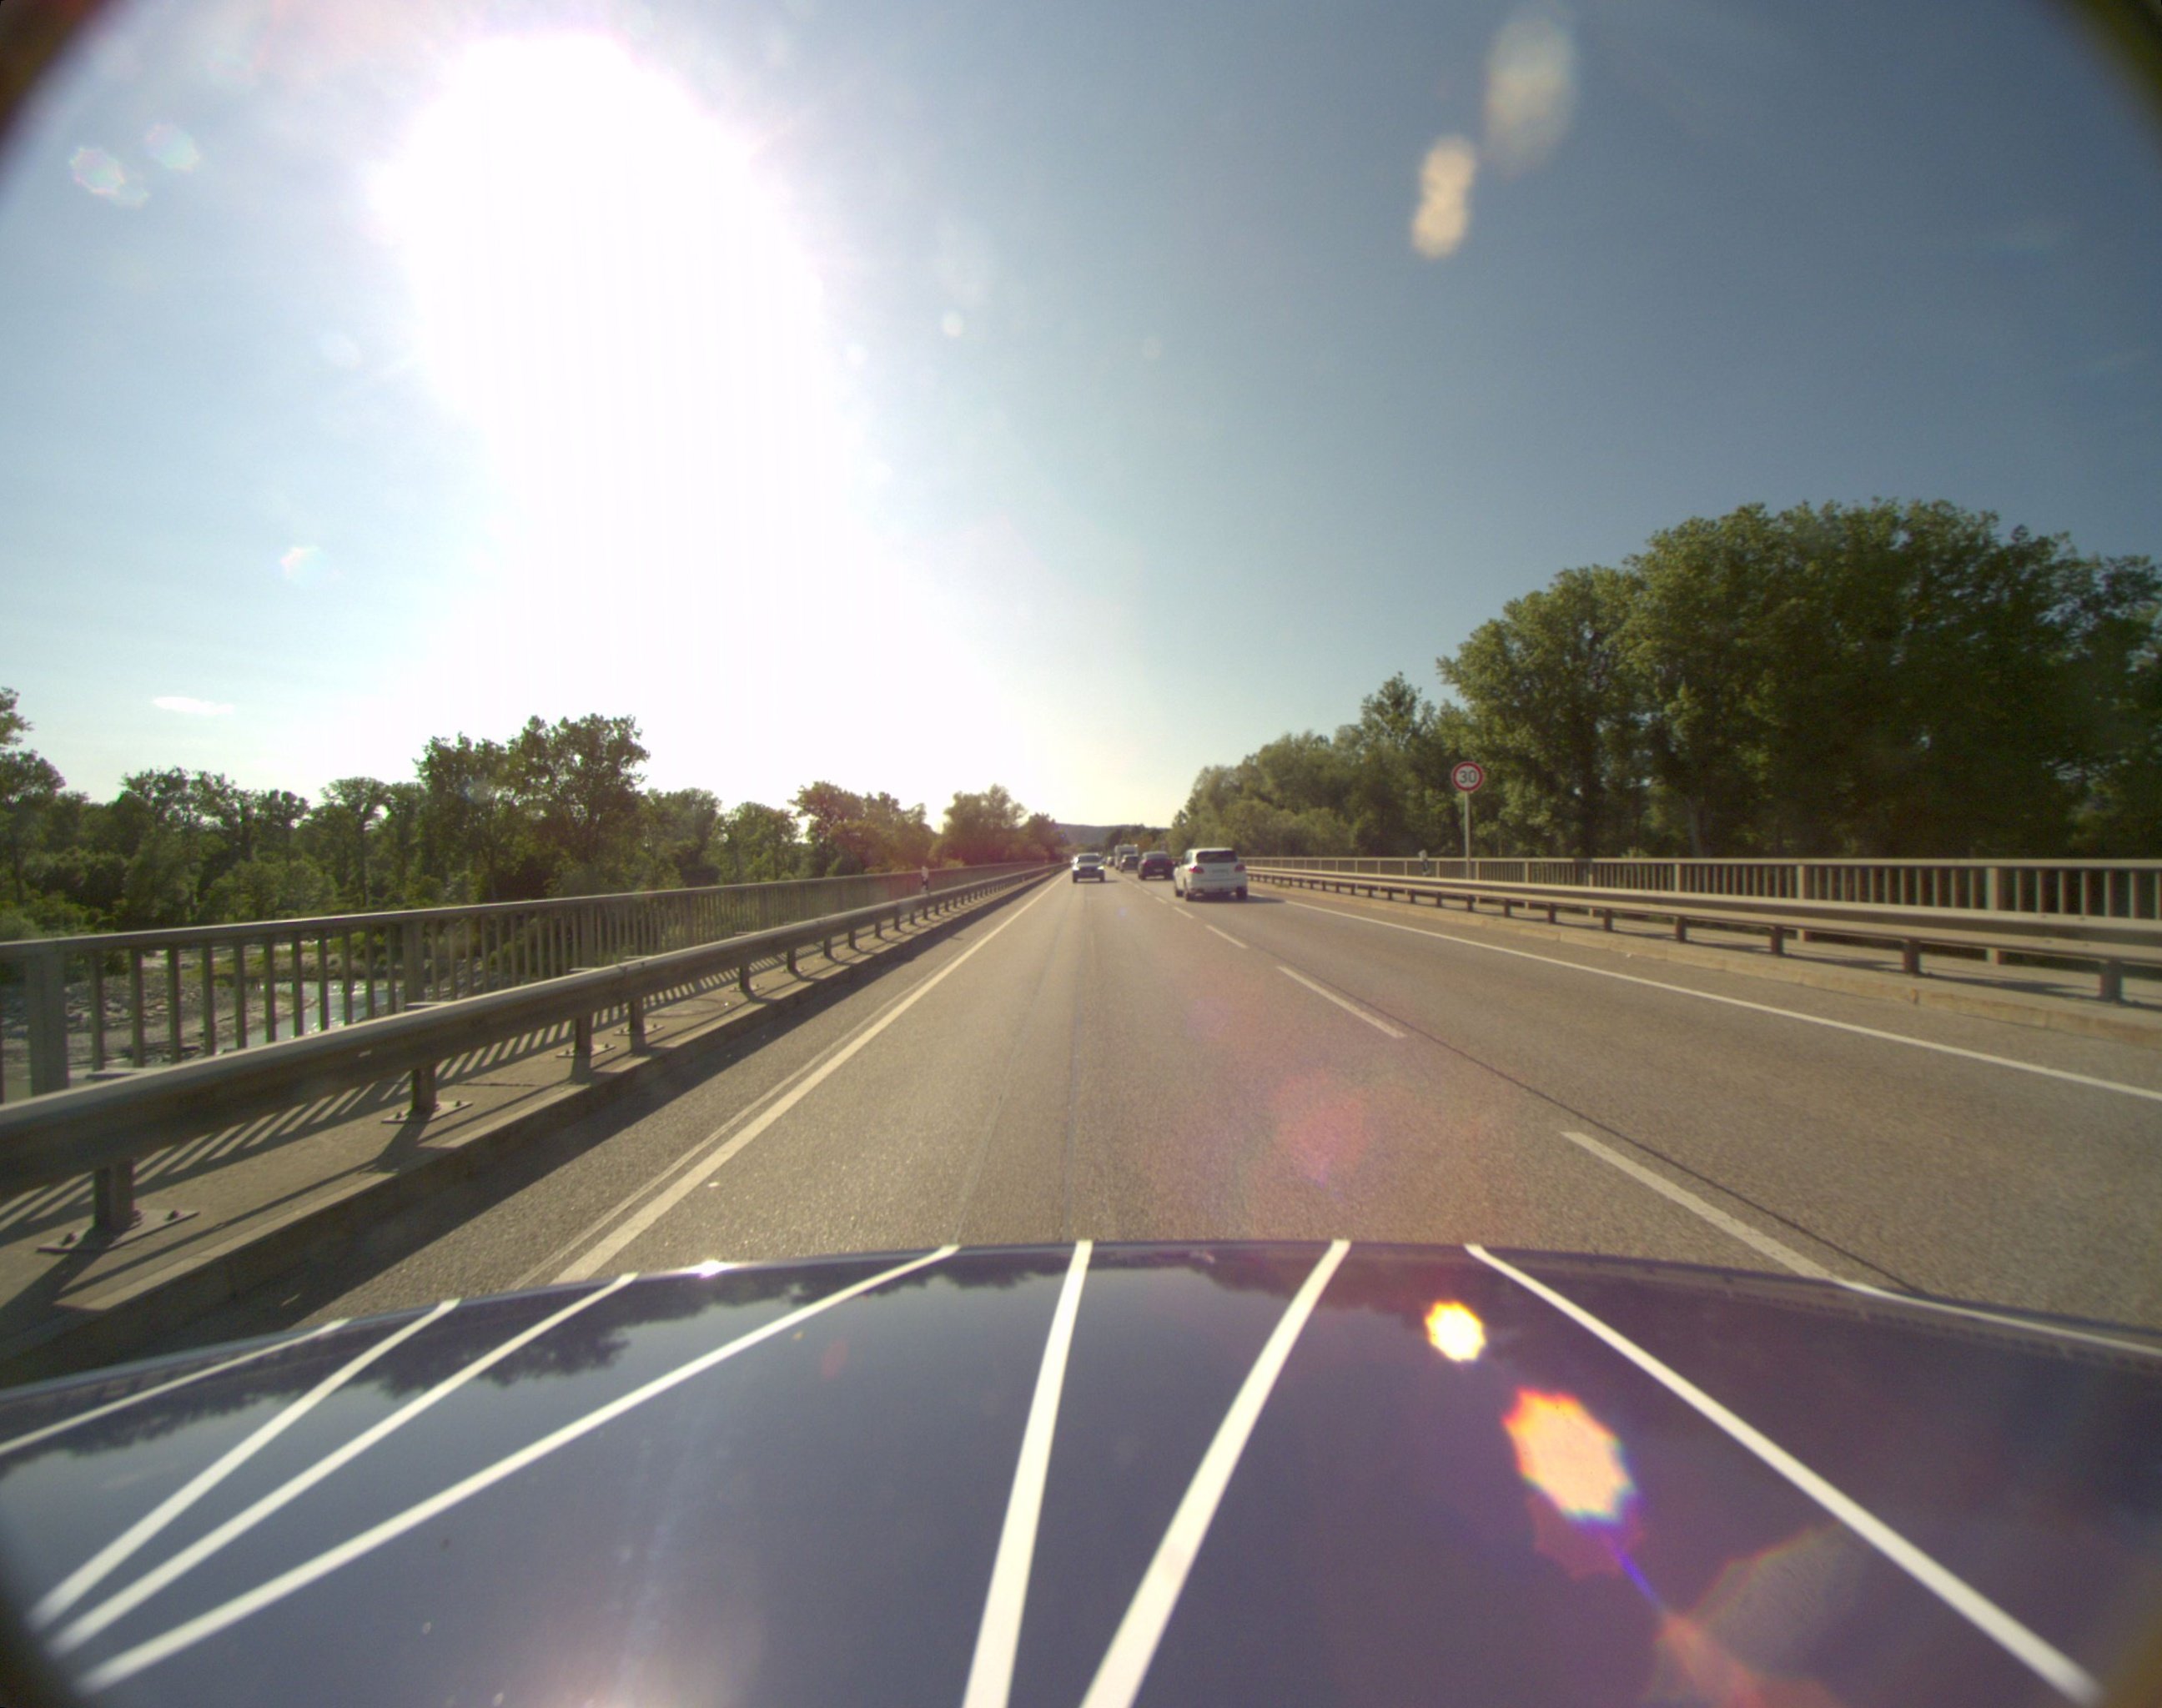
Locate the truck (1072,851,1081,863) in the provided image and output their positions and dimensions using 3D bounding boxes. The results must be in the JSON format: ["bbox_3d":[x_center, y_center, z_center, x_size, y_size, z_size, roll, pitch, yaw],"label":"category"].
[{"bbox_3d":[-1.515,1.077,264.525,2.744,4.303,8.130,-2,0,0],"label":"truck"}]

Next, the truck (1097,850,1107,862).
[{"bbox_3d":[6.162,0.614,225.977,2.620,3.235,6.967,-2,0,0],"label":"truck"}]

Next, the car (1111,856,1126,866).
[{"bbox_3d":[5.442,0.954,111.320,1.791,1.412,4.650,-1,0,-1],"label":"car"}]

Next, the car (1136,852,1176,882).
[{"bbox_3d":[4.594,0.759,47.046,1.954,1.684,4.476,-2,0,0],"label":"car"}]

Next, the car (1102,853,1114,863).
[{"bbox_3d":[4.919,0.714,138.611,1.972,1.796,4.530,-2,0,1],"label":"car"}]

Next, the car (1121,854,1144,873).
[{"bbox_3d":[4.674,0.831,69.689,1.807,1.651,4.433,-1,0,0],"label":"car"}]

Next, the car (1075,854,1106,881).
[{"bbox_3d":[0.627,0.825,48.155,1.871,1.598,4.380,-2,0,1],"label":"car"}]

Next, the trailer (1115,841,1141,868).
[{"bbox_3d":[5.156,0.077,84.165,2.561,2.721,8.064,-2,0,3],"label":"trailer"}]

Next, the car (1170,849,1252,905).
[{"bbox_3d":[4.253,0.719,25.625,1.988,1.641,4.598,-2,0,1],"label":"car"}]
